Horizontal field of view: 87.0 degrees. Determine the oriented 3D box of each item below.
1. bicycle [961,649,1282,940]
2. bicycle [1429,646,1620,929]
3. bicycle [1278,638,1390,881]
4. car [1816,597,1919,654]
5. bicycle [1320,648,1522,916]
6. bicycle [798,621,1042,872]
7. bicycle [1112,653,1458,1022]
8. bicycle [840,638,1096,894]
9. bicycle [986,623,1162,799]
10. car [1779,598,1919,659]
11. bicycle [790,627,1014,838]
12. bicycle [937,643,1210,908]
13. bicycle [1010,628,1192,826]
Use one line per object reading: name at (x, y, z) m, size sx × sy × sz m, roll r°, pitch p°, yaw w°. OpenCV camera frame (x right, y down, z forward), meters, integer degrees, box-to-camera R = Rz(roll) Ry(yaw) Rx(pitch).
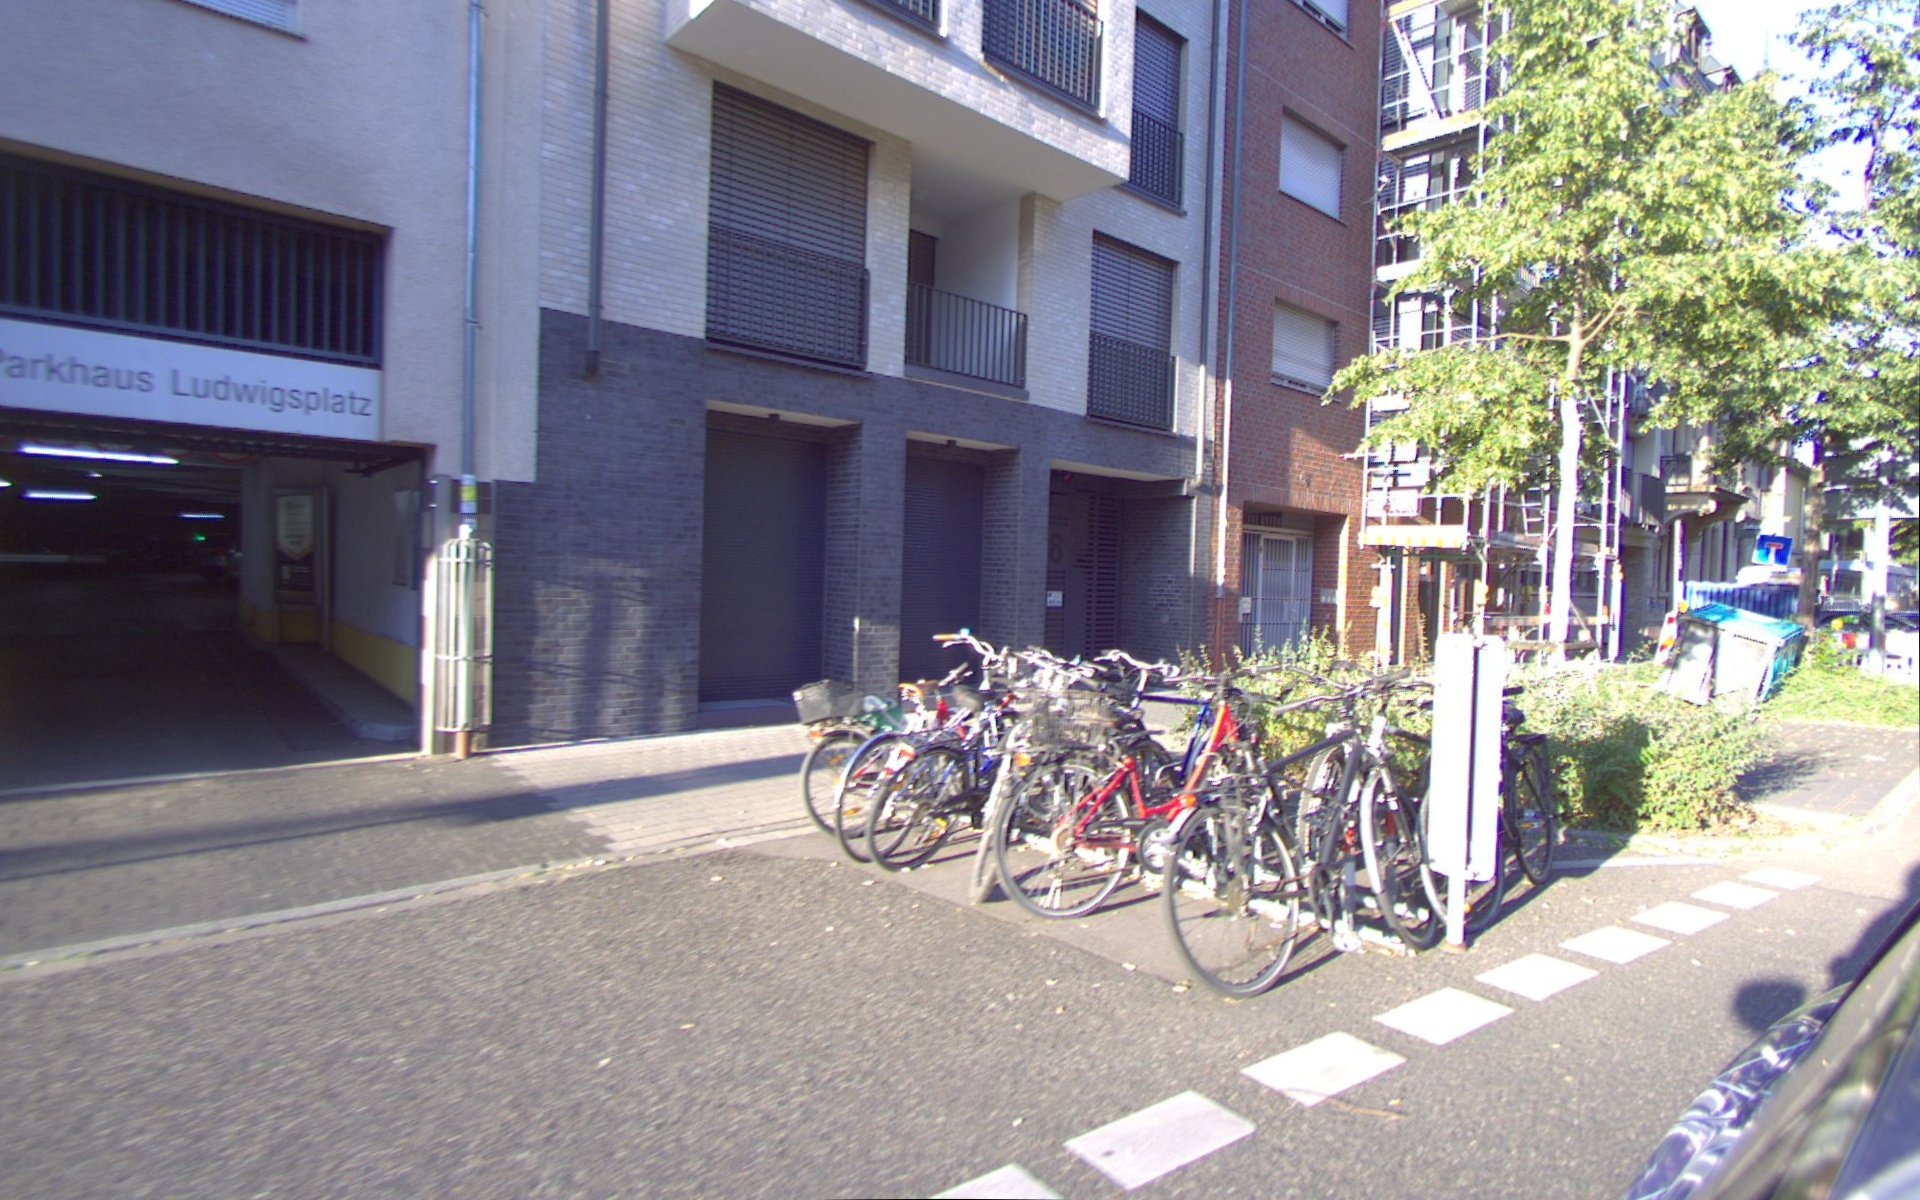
bicycle at (0.760, 0.805, 4.570) m, size 1.492 × 1.121 × 0.373 m, roll 1°, pitch 1°, yaw -29°
bicycle at (2.815, 0.835, 4.987) m, size 1.498 × 1.113 × 0.382 m, roll -1°, pitch 3°, yaw -44°
bicycle at (2.161, 0.816, 5.758) m, size 0.379 × 1.114 × 1.508 m, roll 2°, pitch 1°, yaw 27°
car at (28.610, 0.824, 30.094) m, size 1.877 × 1.529 × 4.537 m, roll 2°, pitch 2°, yaw -41°
bicycle at (2.372, 0.835, 5.125) m, size 1.498 × 1.114 × 0.382 m, roll 1°, pitch 2°, yaw -44°
bicycle at (-0.177, 0.738, 5.681) m, size 0.382 × 1.204 × 1.498 m, roll 1°, pitch 1°, yaw 45°
bicycle at (1.302, 0.817, 3.919) m, size 1.535 × 1.155 × 0.364 m, roll 0°, pitch 2°, yaw -33°
bicycle at (0.090, 0.787, 5.307) m, size 1.498 × 1.114 × 0.382 m, roll 0°, pitch 1°, yaw -45°
bicycle at (0.854, 0.740, 7.286) m, size 0.382 × 1.114 × 1.498 m, roll 3°, pitch 2°, yaw 45°
car at (26.424, 0.824, 28.784) m, size 1.833 × 1.497 × 4.540 m, roll 1°, pitch 3°, yaw -38°
bicycle at (-0.319, 0.756, 6.296) m, size 0.382 × 1.113 × 1.498 m, roll 3°, pitch 2°, yaw 45°
bicycle at (0.618, 0.803, 5.102) m, size 1.537 × 1.114 × 0.382 m, roll 1°, pitch 1°, yaw -40°
bicycle at (0.962, 0.763, 6.633) m, size 0.381 × 1.114 × 1.500 m, roll 3°, pitch 2°, yaw 42°
